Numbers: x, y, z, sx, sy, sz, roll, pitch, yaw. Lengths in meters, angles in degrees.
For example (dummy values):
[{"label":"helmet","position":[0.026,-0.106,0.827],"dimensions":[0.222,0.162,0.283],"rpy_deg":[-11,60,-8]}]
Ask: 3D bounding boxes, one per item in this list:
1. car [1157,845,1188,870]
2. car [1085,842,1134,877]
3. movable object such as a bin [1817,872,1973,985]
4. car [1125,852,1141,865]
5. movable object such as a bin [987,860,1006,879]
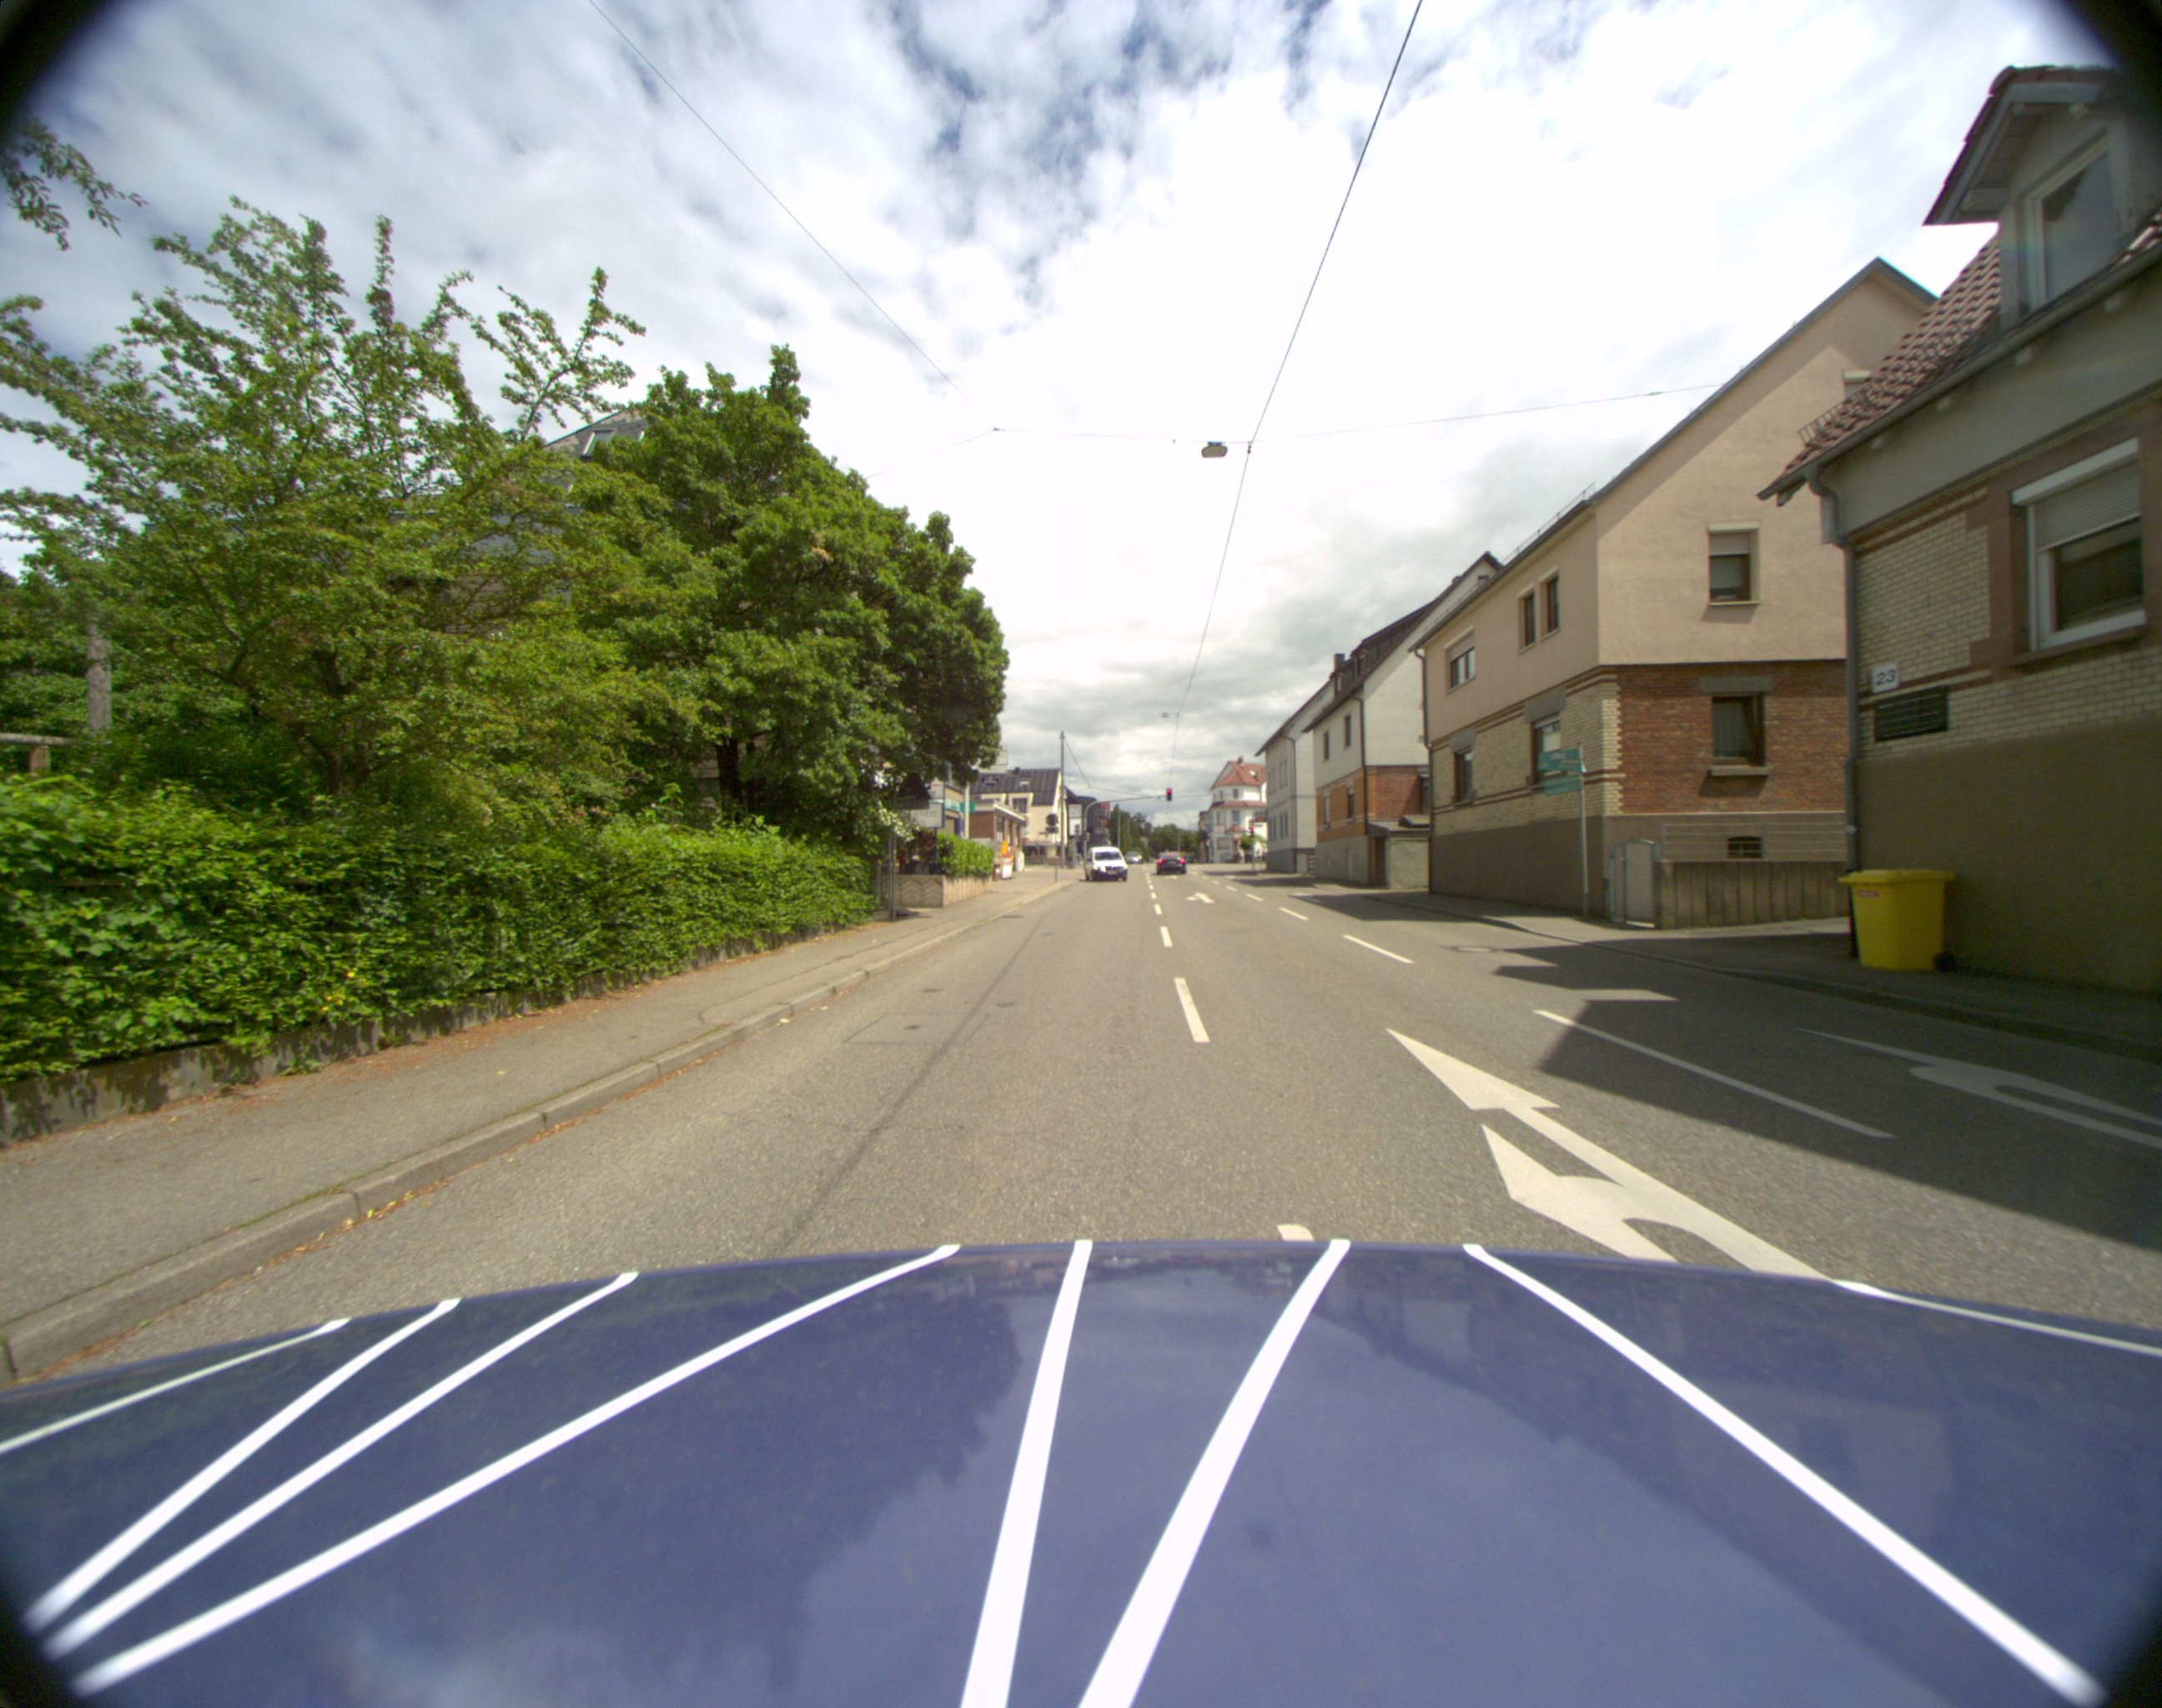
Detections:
[{"label":"car","position":[5.884,0.254,49.258],"dimensions":[1.794,1.477,4.002],"rpy_deg":[-2,0,5]},{"label":"car","position":[1.443,0.268,39.837],"dimensions":[1.894,1.718,4.290],"rpy_deg":[-1,1,-7]},{"label":"movable object such as a bin","position":[8.726,0.787,8.191],"dimensions":[0.766,1.154,0.803],"rpy_deg":[-1,-3,6]},{"label":"car","position":[6.287,0.520,91.722],"dimensions":[1.794,1.477,4.002],"rpy_deg":[-2,0,5]},{"label":"movable object such as a bin","position":[-4.146,0.759,37.272],"dimensions":[0.789,0.909,0.470],"rpy_deg":[4,1,3]}]
